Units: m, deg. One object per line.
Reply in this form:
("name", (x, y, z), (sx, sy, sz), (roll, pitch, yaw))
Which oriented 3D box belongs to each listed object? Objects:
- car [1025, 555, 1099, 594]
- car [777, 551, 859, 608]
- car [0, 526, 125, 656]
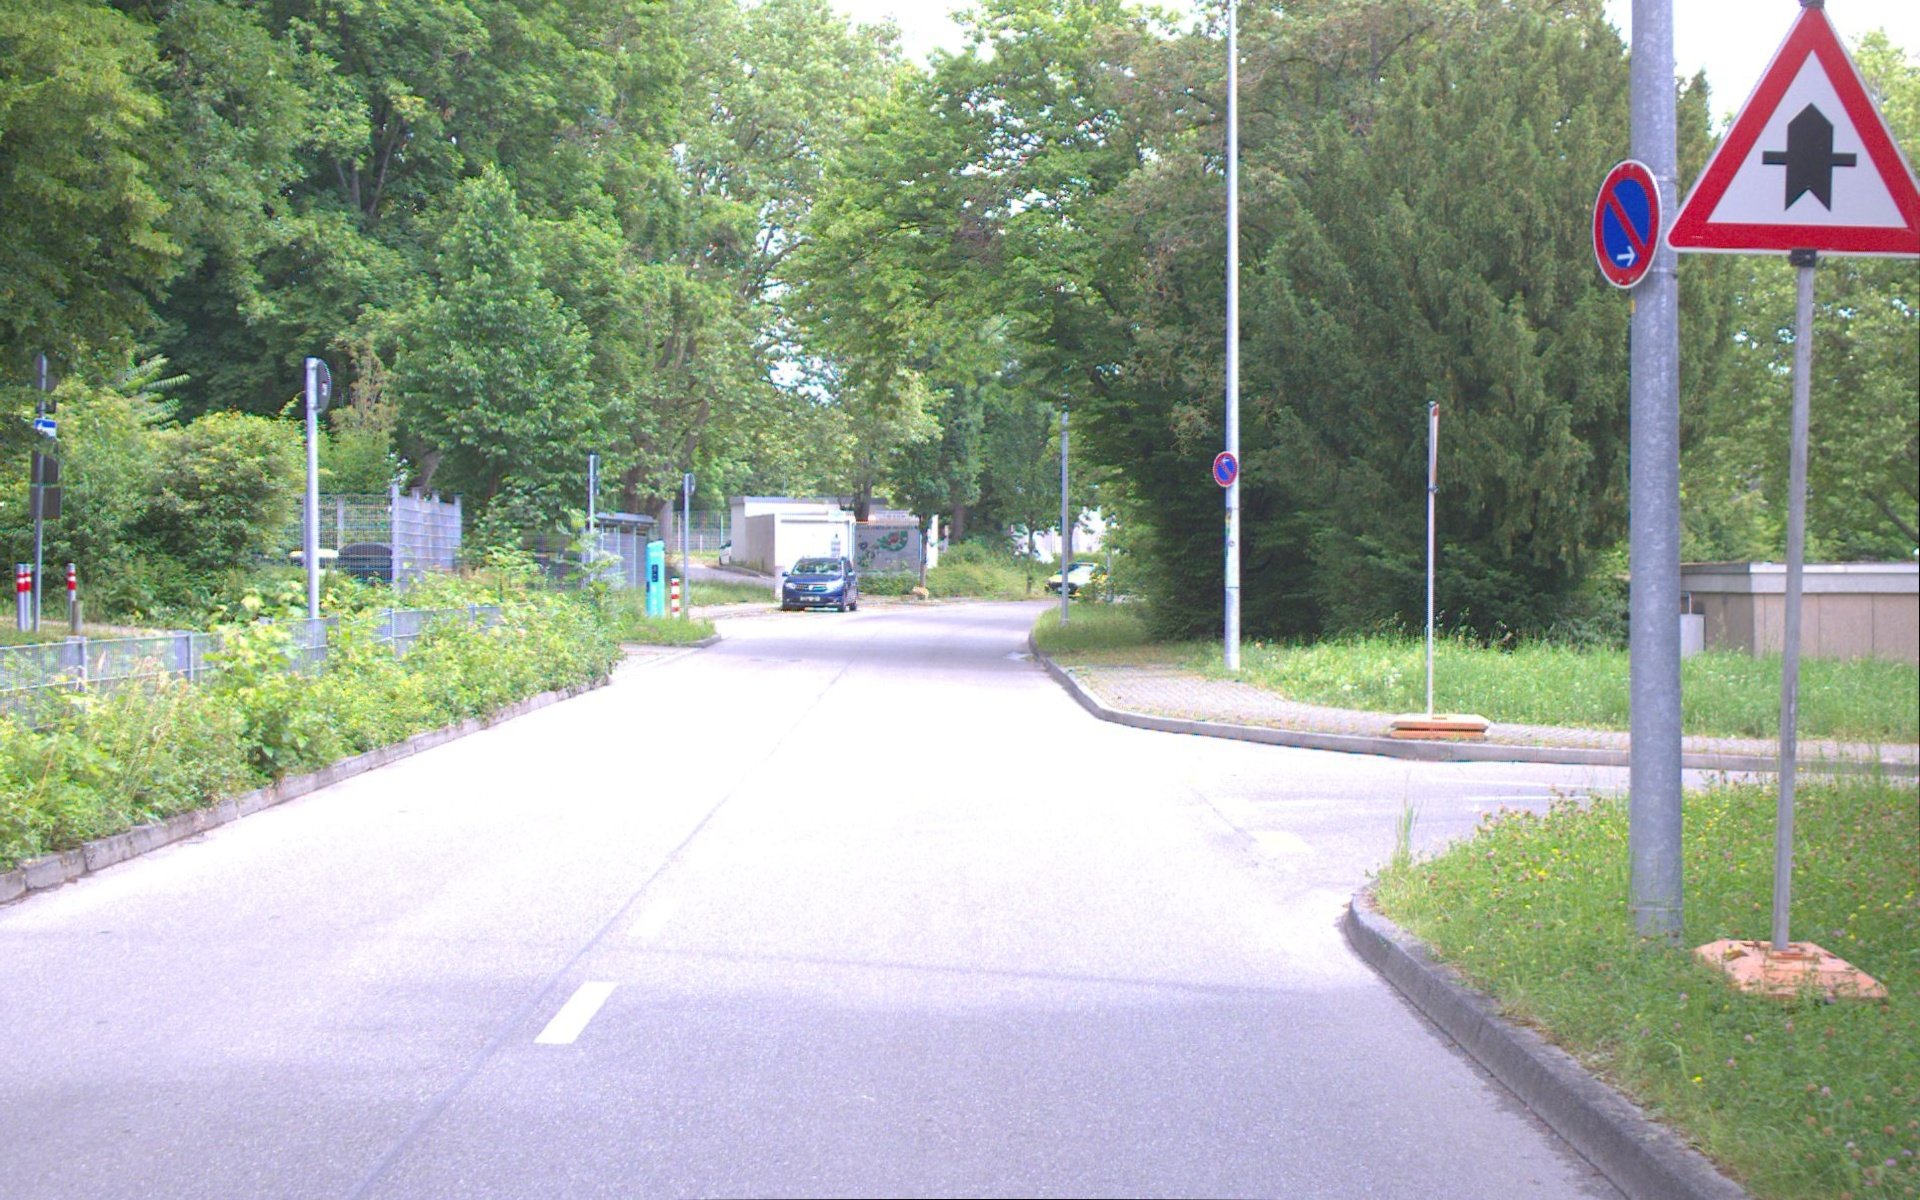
("car", (3.951, -0.959, 132.054), (1.701, 1.398, 4.269), (2, 0, 17))
("car", (-3.894, -0.573, 94.792), (1.680, 1.506, 4.430), (1, 0, 5))
("car", (-15.213, -0.164, 55.215), (1.994, 2.007, 3.998), (0, 1, 12))
